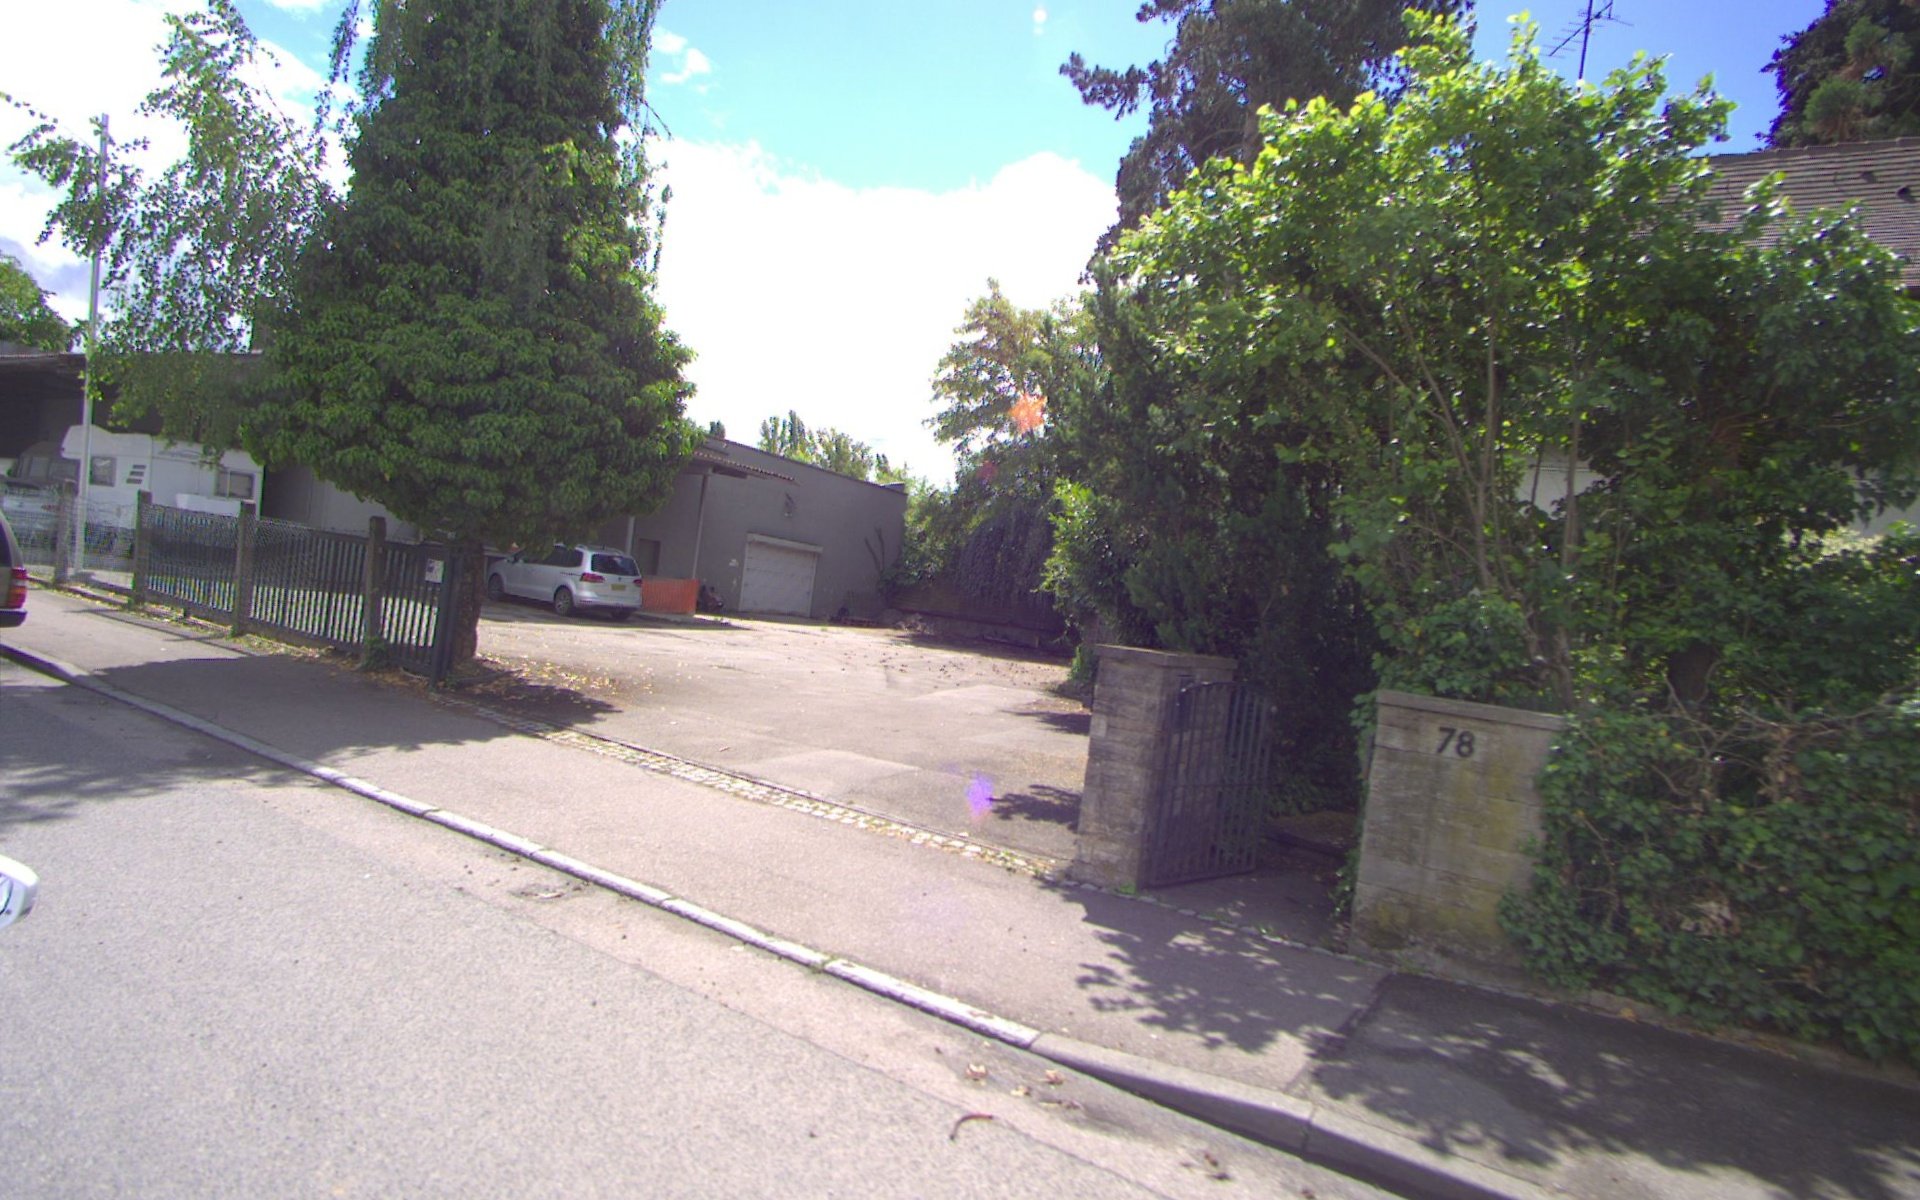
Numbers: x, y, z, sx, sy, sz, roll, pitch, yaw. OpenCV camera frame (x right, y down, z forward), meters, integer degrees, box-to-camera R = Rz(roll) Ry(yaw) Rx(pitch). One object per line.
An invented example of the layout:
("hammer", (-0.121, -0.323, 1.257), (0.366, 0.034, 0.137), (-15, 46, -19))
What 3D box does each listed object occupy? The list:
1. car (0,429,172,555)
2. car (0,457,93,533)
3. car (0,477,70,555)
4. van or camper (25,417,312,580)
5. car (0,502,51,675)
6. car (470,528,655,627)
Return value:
("car", (-23.853, -2.954, 27.148), (5.404, 2.715, 2.021), (8, 1, 30))
("car", (-29.235, -3.371, 31.258), (4.772, 1.934, 1.996), (8, 1, 32))
("car", (-22.172, -2.085, 22.661), (4.844, 1.507, 1.767), (8, 0, 32))
("van or camper", (-18.900, -2.452, 23.929), (6.796, 3.098, 2.885), (7, 0, 30))
("car", (-10.607, -0.415, 9.392), (4.911, 1.467, 1.759), (7, -2, 32))
("car", (-10.091, -0.599, 25.417), (4.733, 1.774, 1.819), (9, 1, 33))
